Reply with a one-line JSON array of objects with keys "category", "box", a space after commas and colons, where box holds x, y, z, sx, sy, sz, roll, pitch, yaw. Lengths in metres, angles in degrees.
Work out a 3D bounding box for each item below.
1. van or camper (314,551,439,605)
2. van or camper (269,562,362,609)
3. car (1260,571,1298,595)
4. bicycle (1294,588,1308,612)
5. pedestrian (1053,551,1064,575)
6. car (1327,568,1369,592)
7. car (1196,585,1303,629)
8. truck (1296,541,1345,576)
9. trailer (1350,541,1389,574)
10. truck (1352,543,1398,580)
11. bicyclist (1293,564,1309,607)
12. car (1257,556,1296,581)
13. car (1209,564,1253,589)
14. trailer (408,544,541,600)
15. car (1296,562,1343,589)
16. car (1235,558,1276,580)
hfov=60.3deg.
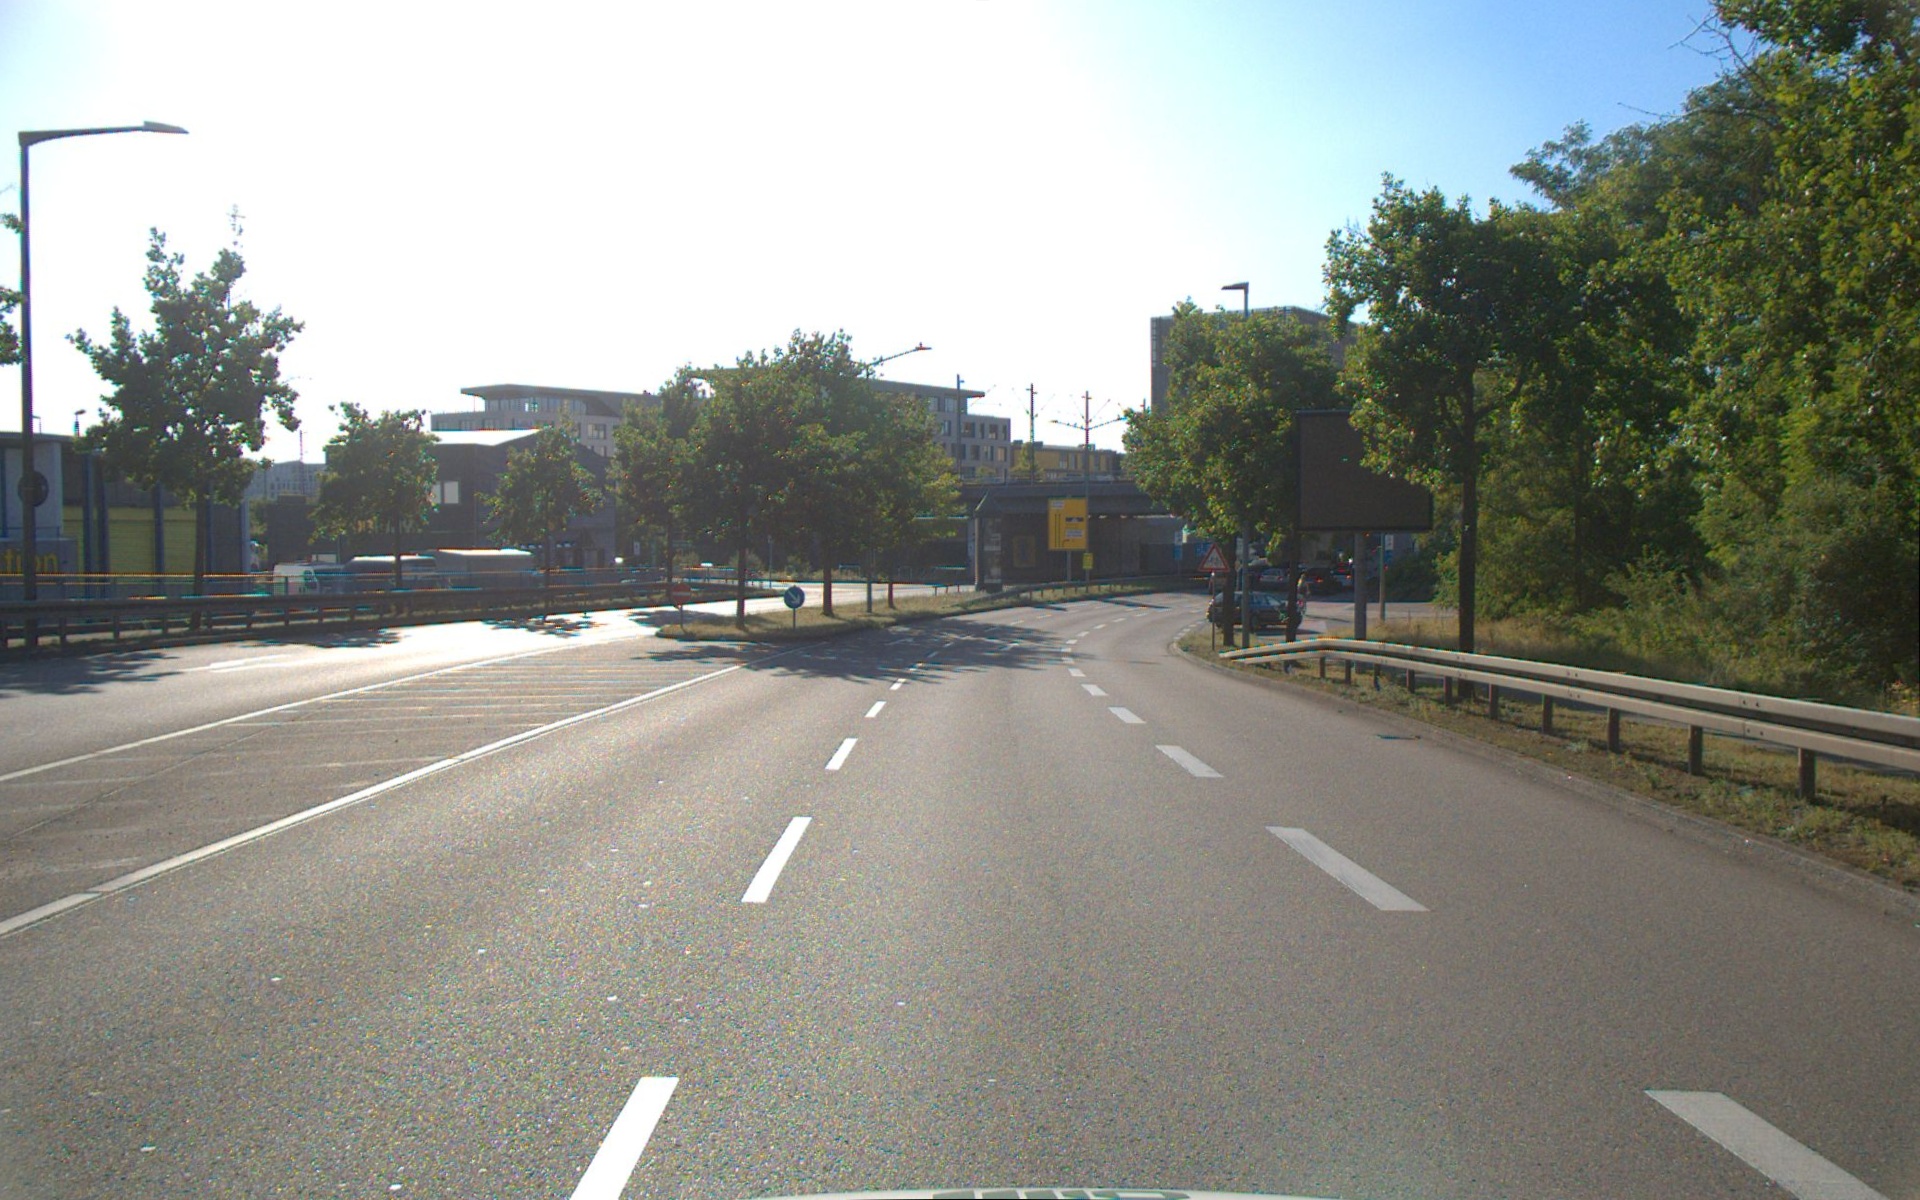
[{"category": "van or camper", "box": [-19.445, -0.756, 55.368, 1.951, 1.715, 4.965, 1, 1, 7]}, {"category": "van or camper", "box": [-27.455, -0.618, 70.413, 4.151, 1.959, 1.990, 1, 0, 40]}, {"category": "car", "box": [20.792, -1.109, 107.856, 1.517, 1.448, 3.414, -2, 1, 27]}, {"category": "bicycle", "box": [15.623, -0.015, 75.790, 0.566, 0.980, 2.889, 1, 2, 12]}, {"category": "pedestrian", "box": [8.030, -2.987, 134.648, 0.681, 1.936, 0.663, 2, 2, 33]}, {"category": "car", "box": [26.086, -1.366, 111.075, 1.739, 1.521, 3.825, 0, 1, 30]}, {"category": "car", "box": [11.414, 0.271, 65.144, 3.956, 1.534, 1.975, -2, 0, -36]}, {"category": "truck", "box": [27.626, -3.201, 126.674, 1.991, 2.601, 5.525, 2, 2, 31]}, {"category": "trailer", "box": [31.539, -3.261, 127.236, 1.830, 2.508, 3.822, 0, 1, 32]}, {"category": "truck", "box": [29.654, -2.703, 118.095, 2.072, 2.563, 4.393, 1, 1, 29]}, {"category": "bicyclist", "box": [15.657, -0.652, 75.845, 0.667, 1.940, 0.834, 1, 2, 13]}, {"category": "car", "box": [22.992, -2.305, 120.128, 1.805, 1.749, 3.997, -2, 0, 25]}, {"category": "car", "box": [16.462, -1.439, 100.435, 1.551, 1.433, 3.828, 2, 2, 26]}, {"category": "trailer", "box": [-18.567, -1.099, 63.702, 2.368, 2.004, 6.612, 1, 1, 8]}, {"category": "car", "box": [22.703, -1.592, 104.426, 1.707, 1.479, 4.601, 2, 4, 28]}, {"category": "car", "box": [20.613, -2.160, 115.304, 1.805, 1.465, 3.671, -2, 0, 27]}]
